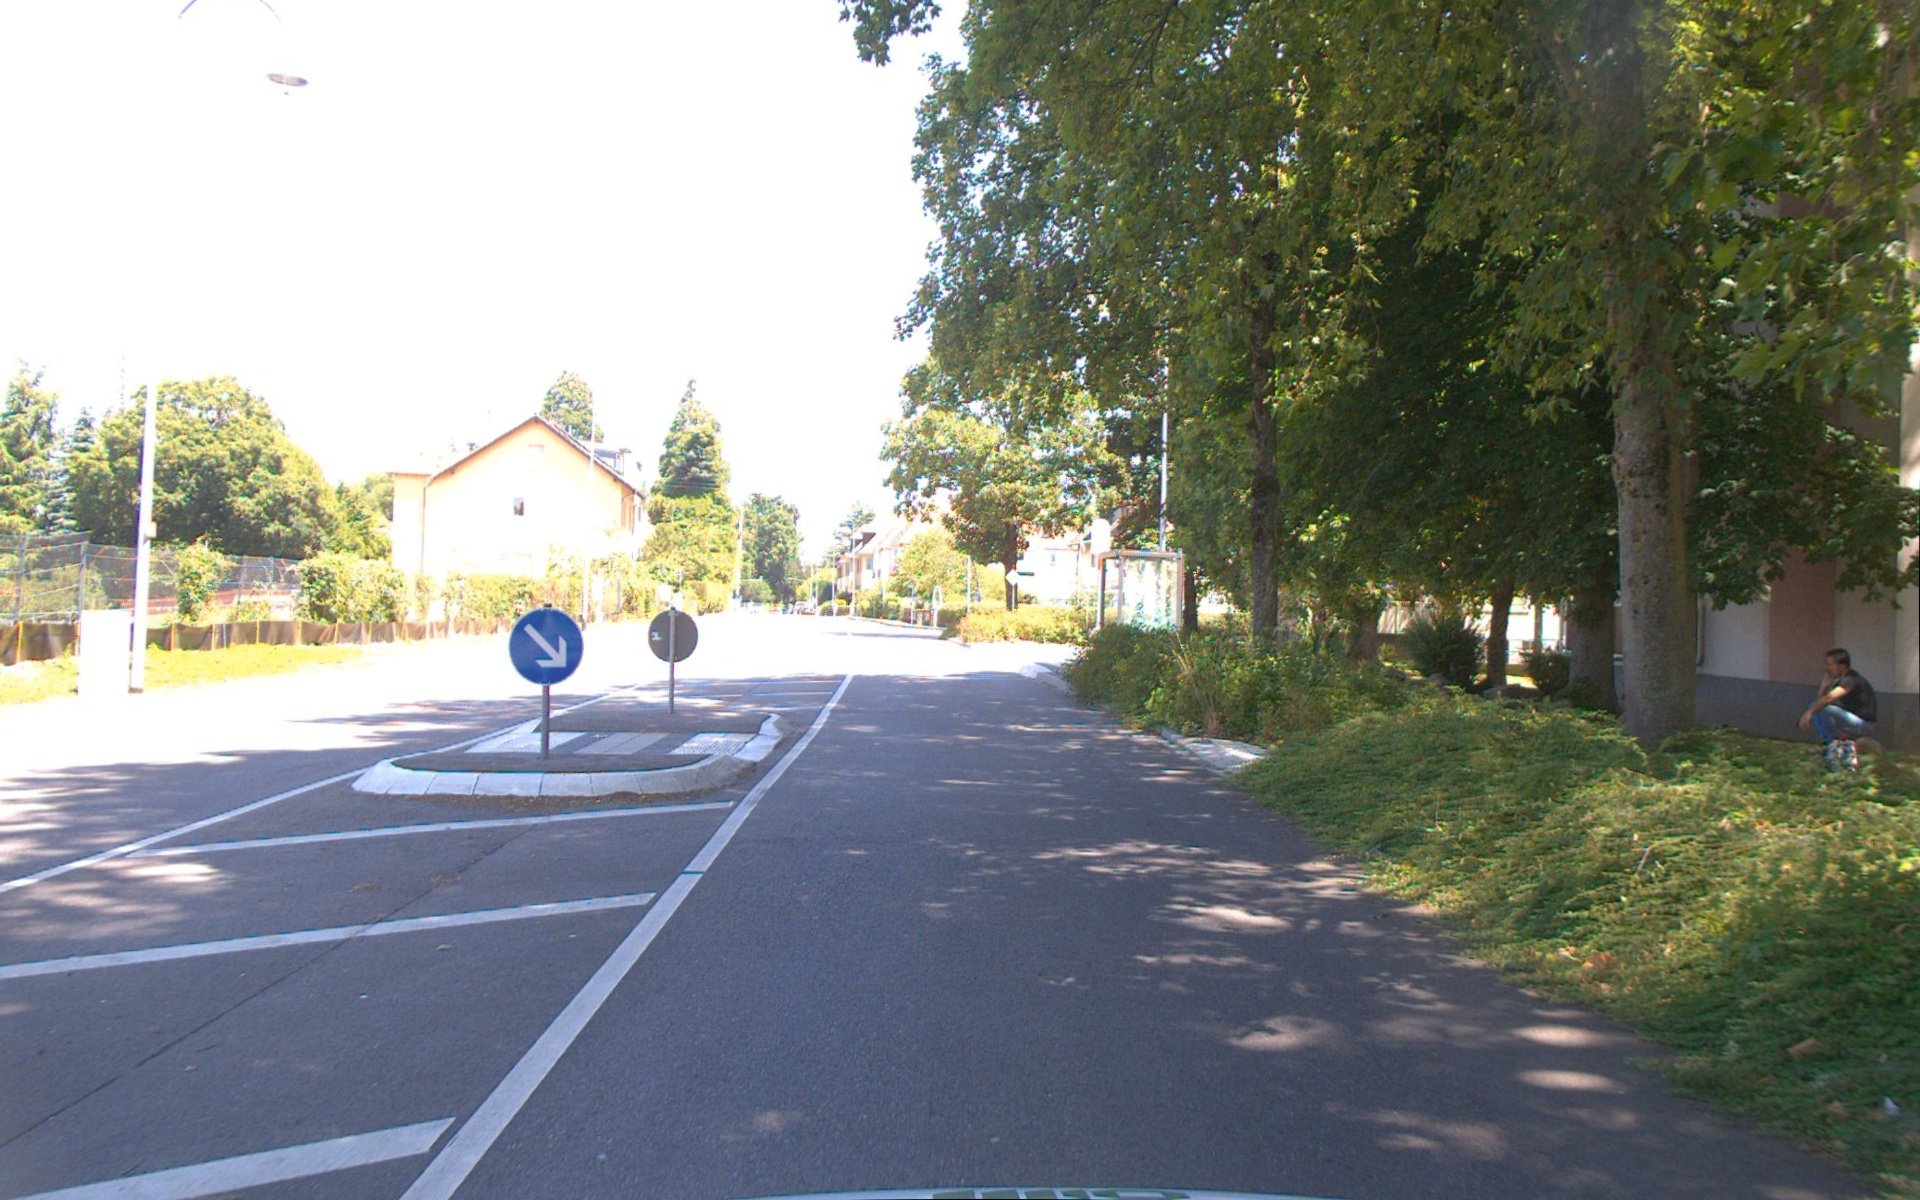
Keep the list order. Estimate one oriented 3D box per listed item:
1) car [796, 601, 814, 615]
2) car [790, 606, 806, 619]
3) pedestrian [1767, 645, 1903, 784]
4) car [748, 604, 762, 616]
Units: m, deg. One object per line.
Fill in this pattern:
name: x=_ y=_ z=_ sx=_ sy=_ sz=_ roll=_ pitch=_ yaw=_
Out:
car: x=-17.611 y=0.876 z=187.914 sx=1.661 sy=1.444 sz=4.541 roll=2 pitch=-2 yaw=-9
car: x=-19.314 y=1.478 z=197.181 sx=1.661 sy=1.444 sz=4.541 roll=2 pitch=-2 yaw=-9
pedestrian: x=8.855 y=1.137 z=16.781 sx=0.919 sy=1.315 sz=1.070 roll=1 pitch=-1 yaw=10
car: x=-23.714 y=1.134 z=191.371 sx=1.648 sy=1.396 sz=4.200 roll=0 pitch=0 yaw=-7
